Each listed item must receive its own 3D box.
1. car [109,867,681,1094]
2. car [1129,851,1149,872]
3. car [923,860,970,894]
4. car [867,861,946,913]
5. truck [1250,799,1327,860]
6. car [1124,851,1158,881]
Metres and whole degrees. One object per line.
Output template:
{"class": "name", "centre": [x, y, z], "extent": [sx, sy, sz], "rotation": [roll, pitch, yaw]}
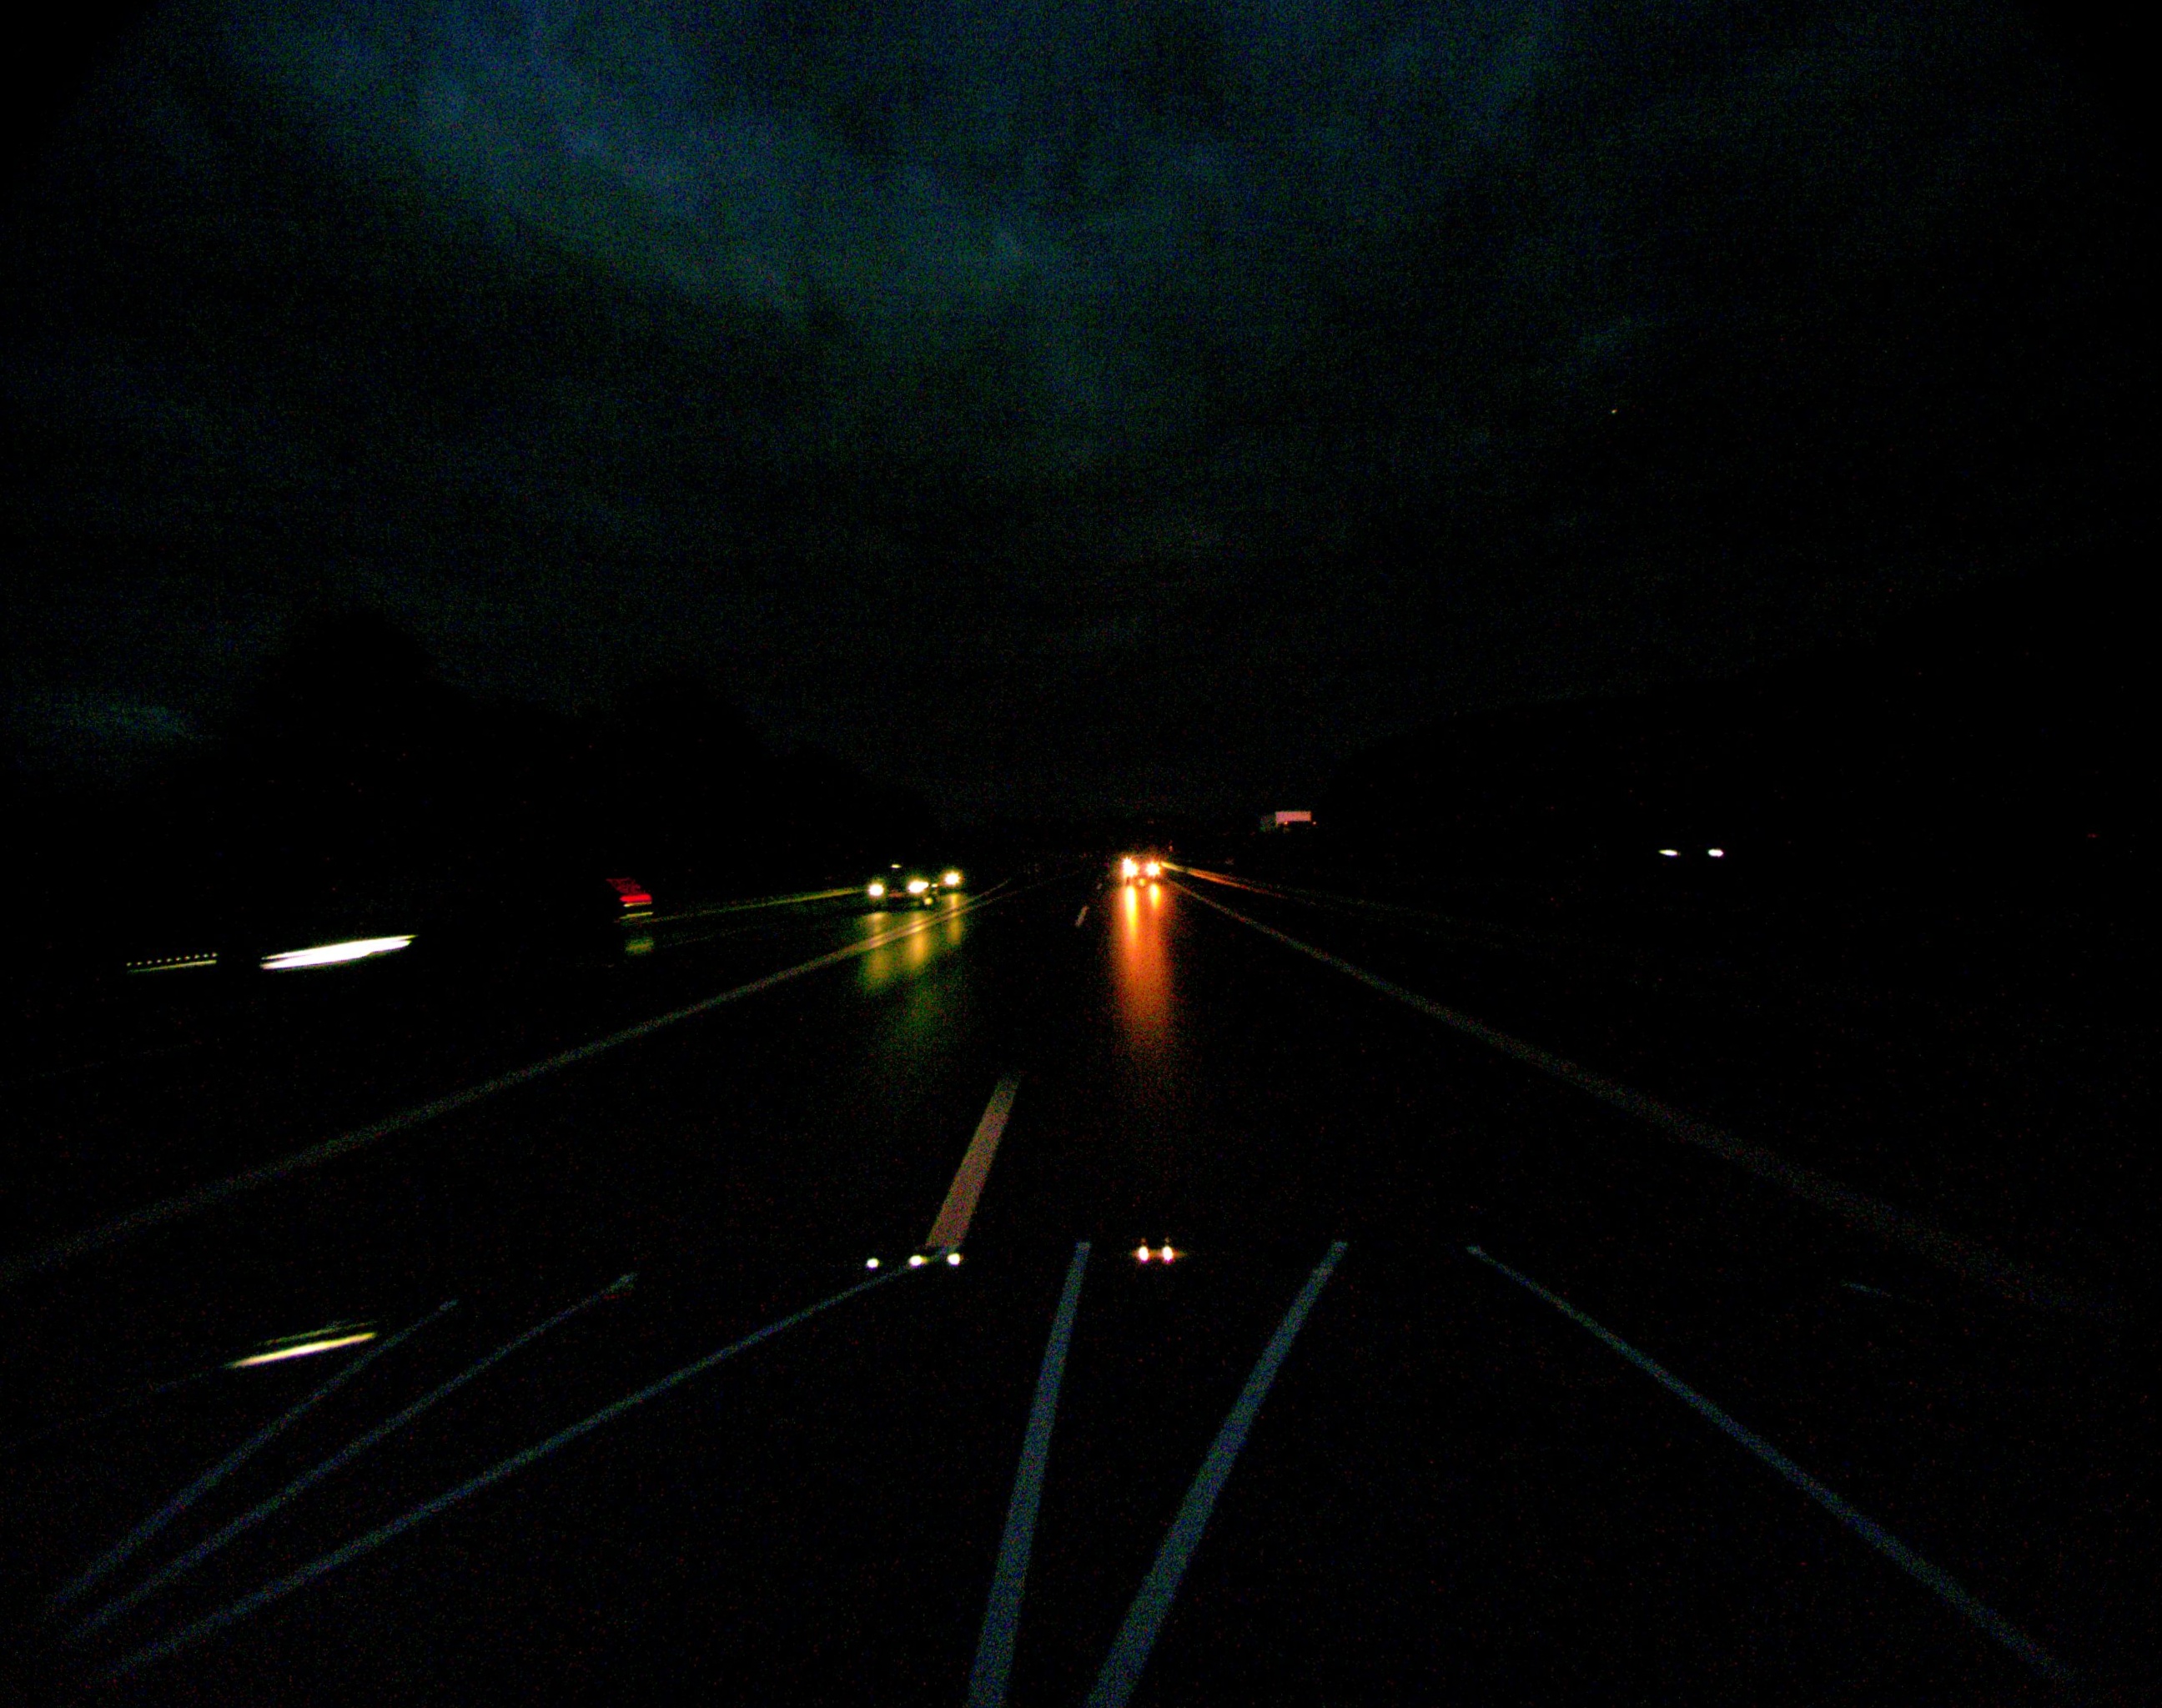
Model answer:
{"class": "car", "centre": [-6.799, 1.049, 8.619], "extent": [1.803, 1.636, 5.159], "rotation": [-2, 0, -1]}
{"class": "car", "centre": [6.244, 0.780, 81.808], "extent": [1.998, 2.002, 4.000], "rotation": [-3, 1, 4]}
{"class": "car", "centre": [-7.172, 1.195, 40.842], "extent": [1.803, 1.483, 4.434], "rotation": [-5, 1, -3]}
{"class": "car", "centre": [-6.276, 1.119, 27.899], "extent": [1.803, 1.483, 5.115], "rotation": [-5, 1, -3]}
{"class": "truck", "centre": [15.980, -1.820, 59.392], "extent": [3.046, 4.276, 9.889], "rotation": [-3, 1, -1]}
{"class": "car", "centre": [3.404, 0.648, 43.660], "extent": [1.669, 1.551, 3.757], "rotation": [-3, 0, 2]}
